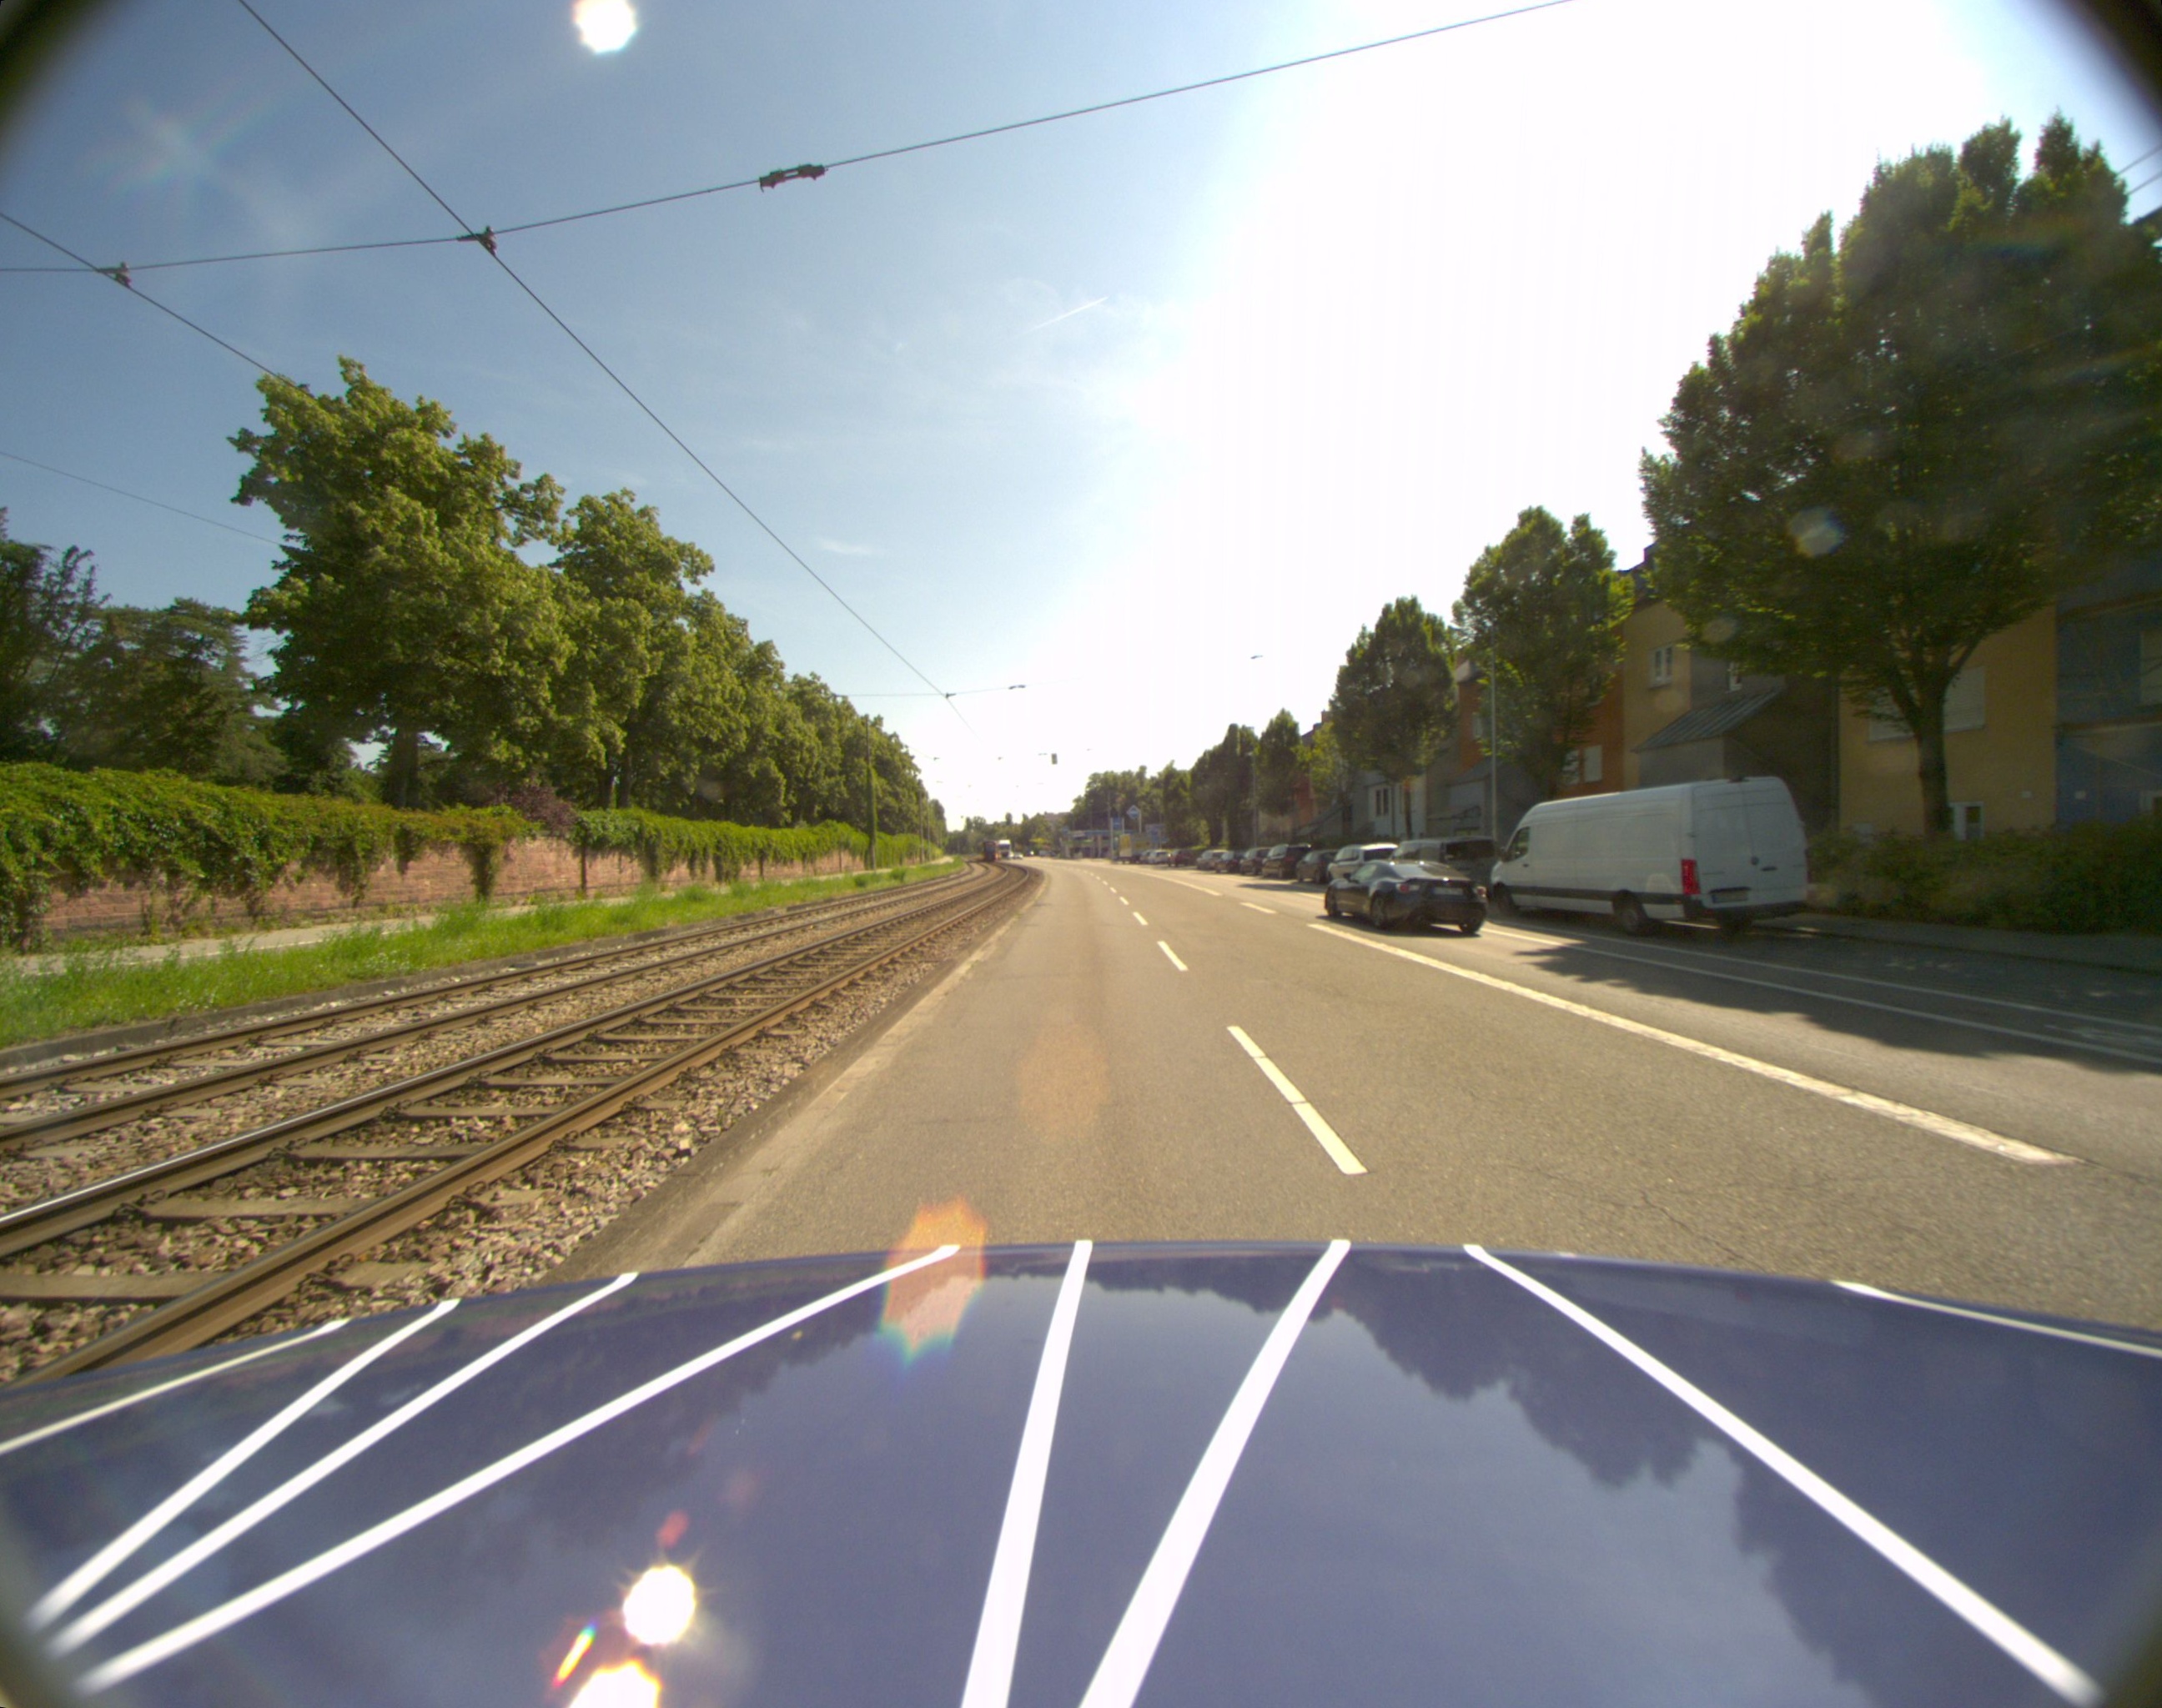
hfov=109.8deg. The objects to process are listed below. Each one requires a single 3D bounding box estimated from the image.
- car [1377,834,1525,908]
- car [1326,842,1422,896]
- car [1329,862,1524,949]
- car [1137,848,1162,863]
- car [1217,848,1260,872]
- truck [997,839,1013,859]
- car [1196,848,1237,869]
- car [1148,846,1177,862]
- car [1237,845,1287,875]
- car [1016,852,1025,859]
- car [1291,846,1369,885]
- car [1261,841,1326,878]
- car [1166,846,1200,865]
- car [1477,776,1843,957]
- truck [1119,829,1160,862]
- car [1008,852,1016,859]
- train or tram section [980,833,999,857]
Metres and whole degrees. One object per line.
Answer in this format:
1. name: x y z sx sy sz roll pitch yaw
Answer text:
1. car: 11.006 0.441 23.116 1.998 1.855 4.966 -5 1 1
2. car: 10.887 0.487 28.646 1.852 1.693 4.540 -4 1 1
3. car: 6.064 0.824 13.911 1.691 1.237 4.064 2 1 0
4. car: 7.294 0.138 81.155 1.915 1.469 4.213 -3 1 -6
5. car: 10.375 0.364 50.312 1.681 1.462 4.212 -3 1 -3
6. truck: -15.321 -1.004 153.989 2.806 3.927 11.937 -1 1 -4
7. car: 10.128 0.305 57.185 1.682 1.438 4.834 -3 1 -6
8. car: 8.159 0.007 76.263 2.040 1.490 4.130 -3 1 -6
9. car: 10.585 0.298 44.678 1.681 1.598 4.164 -3 1 -3
10. car: -12.995 0.269 163.557 1.748 1.421 5.038 -2 1 -5
11. car: 11.021 0.462 33.879 1.871 1.447 4.074 -5 1 -3
12. car: 10.844 0.232 39.040 1.834 1.718 4.348 -3 1 -3
13. car: 9.115 0.115 68.561 1.911 1.567 4.928 -3 1 -6
14. car: 10.824 0.163 15.326 1.998 2.662 7.086 -4 1 2
15. truck: 6.666 -0.971 88.577 3.165 3.534 8.779 -1 1 -6
16. car: -16.345 0.241 180.885 1.785 1.538 4.392 -3 1 -5
17. train or tram section: -15.538 -1.585 130.371 2.722 3.716 18.866 -2 1 -6
